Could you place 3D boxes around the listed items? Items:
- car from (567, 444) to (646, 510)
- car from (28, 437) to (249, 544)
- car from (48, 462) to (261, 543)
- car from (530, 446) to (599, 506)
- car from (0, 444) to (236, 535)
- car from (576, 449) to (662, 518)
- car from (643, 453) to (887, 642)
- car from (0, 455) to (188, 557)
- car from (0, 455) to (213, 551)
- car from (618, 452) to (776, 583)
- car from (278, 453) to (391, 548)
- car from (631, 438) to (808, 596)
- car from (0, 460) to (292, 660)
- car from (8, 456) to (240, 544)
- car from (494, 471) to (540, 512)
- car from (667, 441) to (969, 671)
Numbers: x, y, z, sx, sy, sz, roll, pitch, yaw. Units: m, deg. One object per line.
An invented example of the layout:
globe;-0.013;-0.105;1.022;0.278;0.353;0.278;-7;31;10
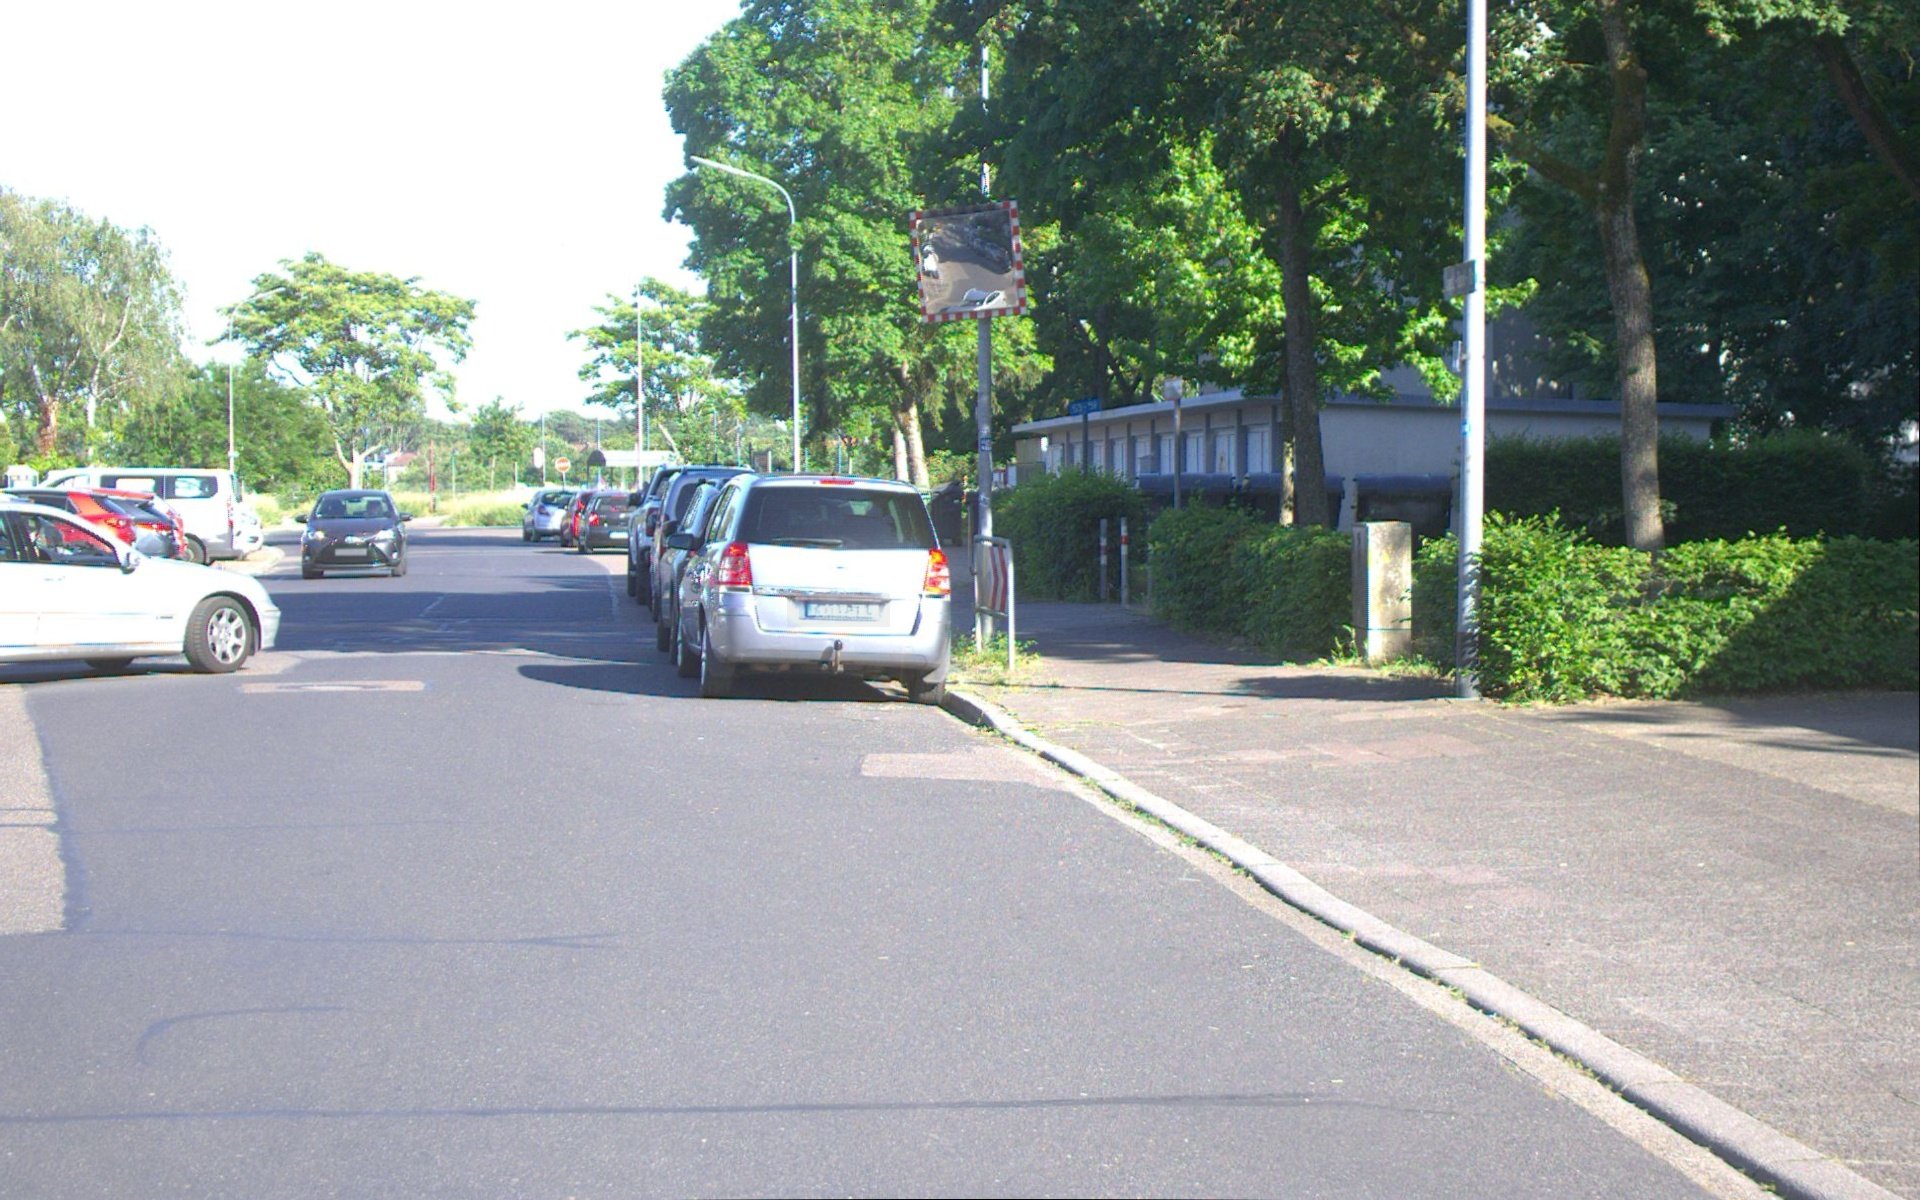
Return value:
car;-9.010;-3.144;87.446;1.795;1.637;3.953;0;2;-9
car;-15.751;-2.106;66.088;4.053;1.985;1.802;0;2;-11
car;-15.977;-1.952;68.327;4.053;1.556;1.802;0;2;-11
car;-11.184;-3.513;97.051;1.795;1.637;3.953;0;2;-9
car;-14.889;-1.954;60.802;4.053;1.556;1.802;0;2;-11
car;-7.964;-2.727;80.046;1.795;1.543;3.953;0;2;-9
car;-1.802;-0.517;30.575;1.795;1.556;3.953;0;2;-9
car;-14.170;-1.486;53.739;4.053;1.556;1.802;0;2;-11
car;-14.626;-1.636;57.645;4.053;1.556;1.802;0;2;-11
car;-3.524;-1.128;45.569;1.795;1.637;3.953;0;2;-9
car;-10.717;-1.740;59.097;1.795;1.556;3.953;0;2;-9
car;-2.922;-1.028;41.091;1.795;1.780;3.953;0;2;-9
car;-7.555;-0.299;26.555;1.842;1.431;4.390;1;4;45
car;-15.318;-1.846;63.184;4.053;1.556;1.802;0;2;-11
car;-18.449;-4.525;143.123;1.795;1.637;3.953;0;2;-9
car;-1.126;-0.379;25.286;1.795;1.556;3.953;0;2;-9
